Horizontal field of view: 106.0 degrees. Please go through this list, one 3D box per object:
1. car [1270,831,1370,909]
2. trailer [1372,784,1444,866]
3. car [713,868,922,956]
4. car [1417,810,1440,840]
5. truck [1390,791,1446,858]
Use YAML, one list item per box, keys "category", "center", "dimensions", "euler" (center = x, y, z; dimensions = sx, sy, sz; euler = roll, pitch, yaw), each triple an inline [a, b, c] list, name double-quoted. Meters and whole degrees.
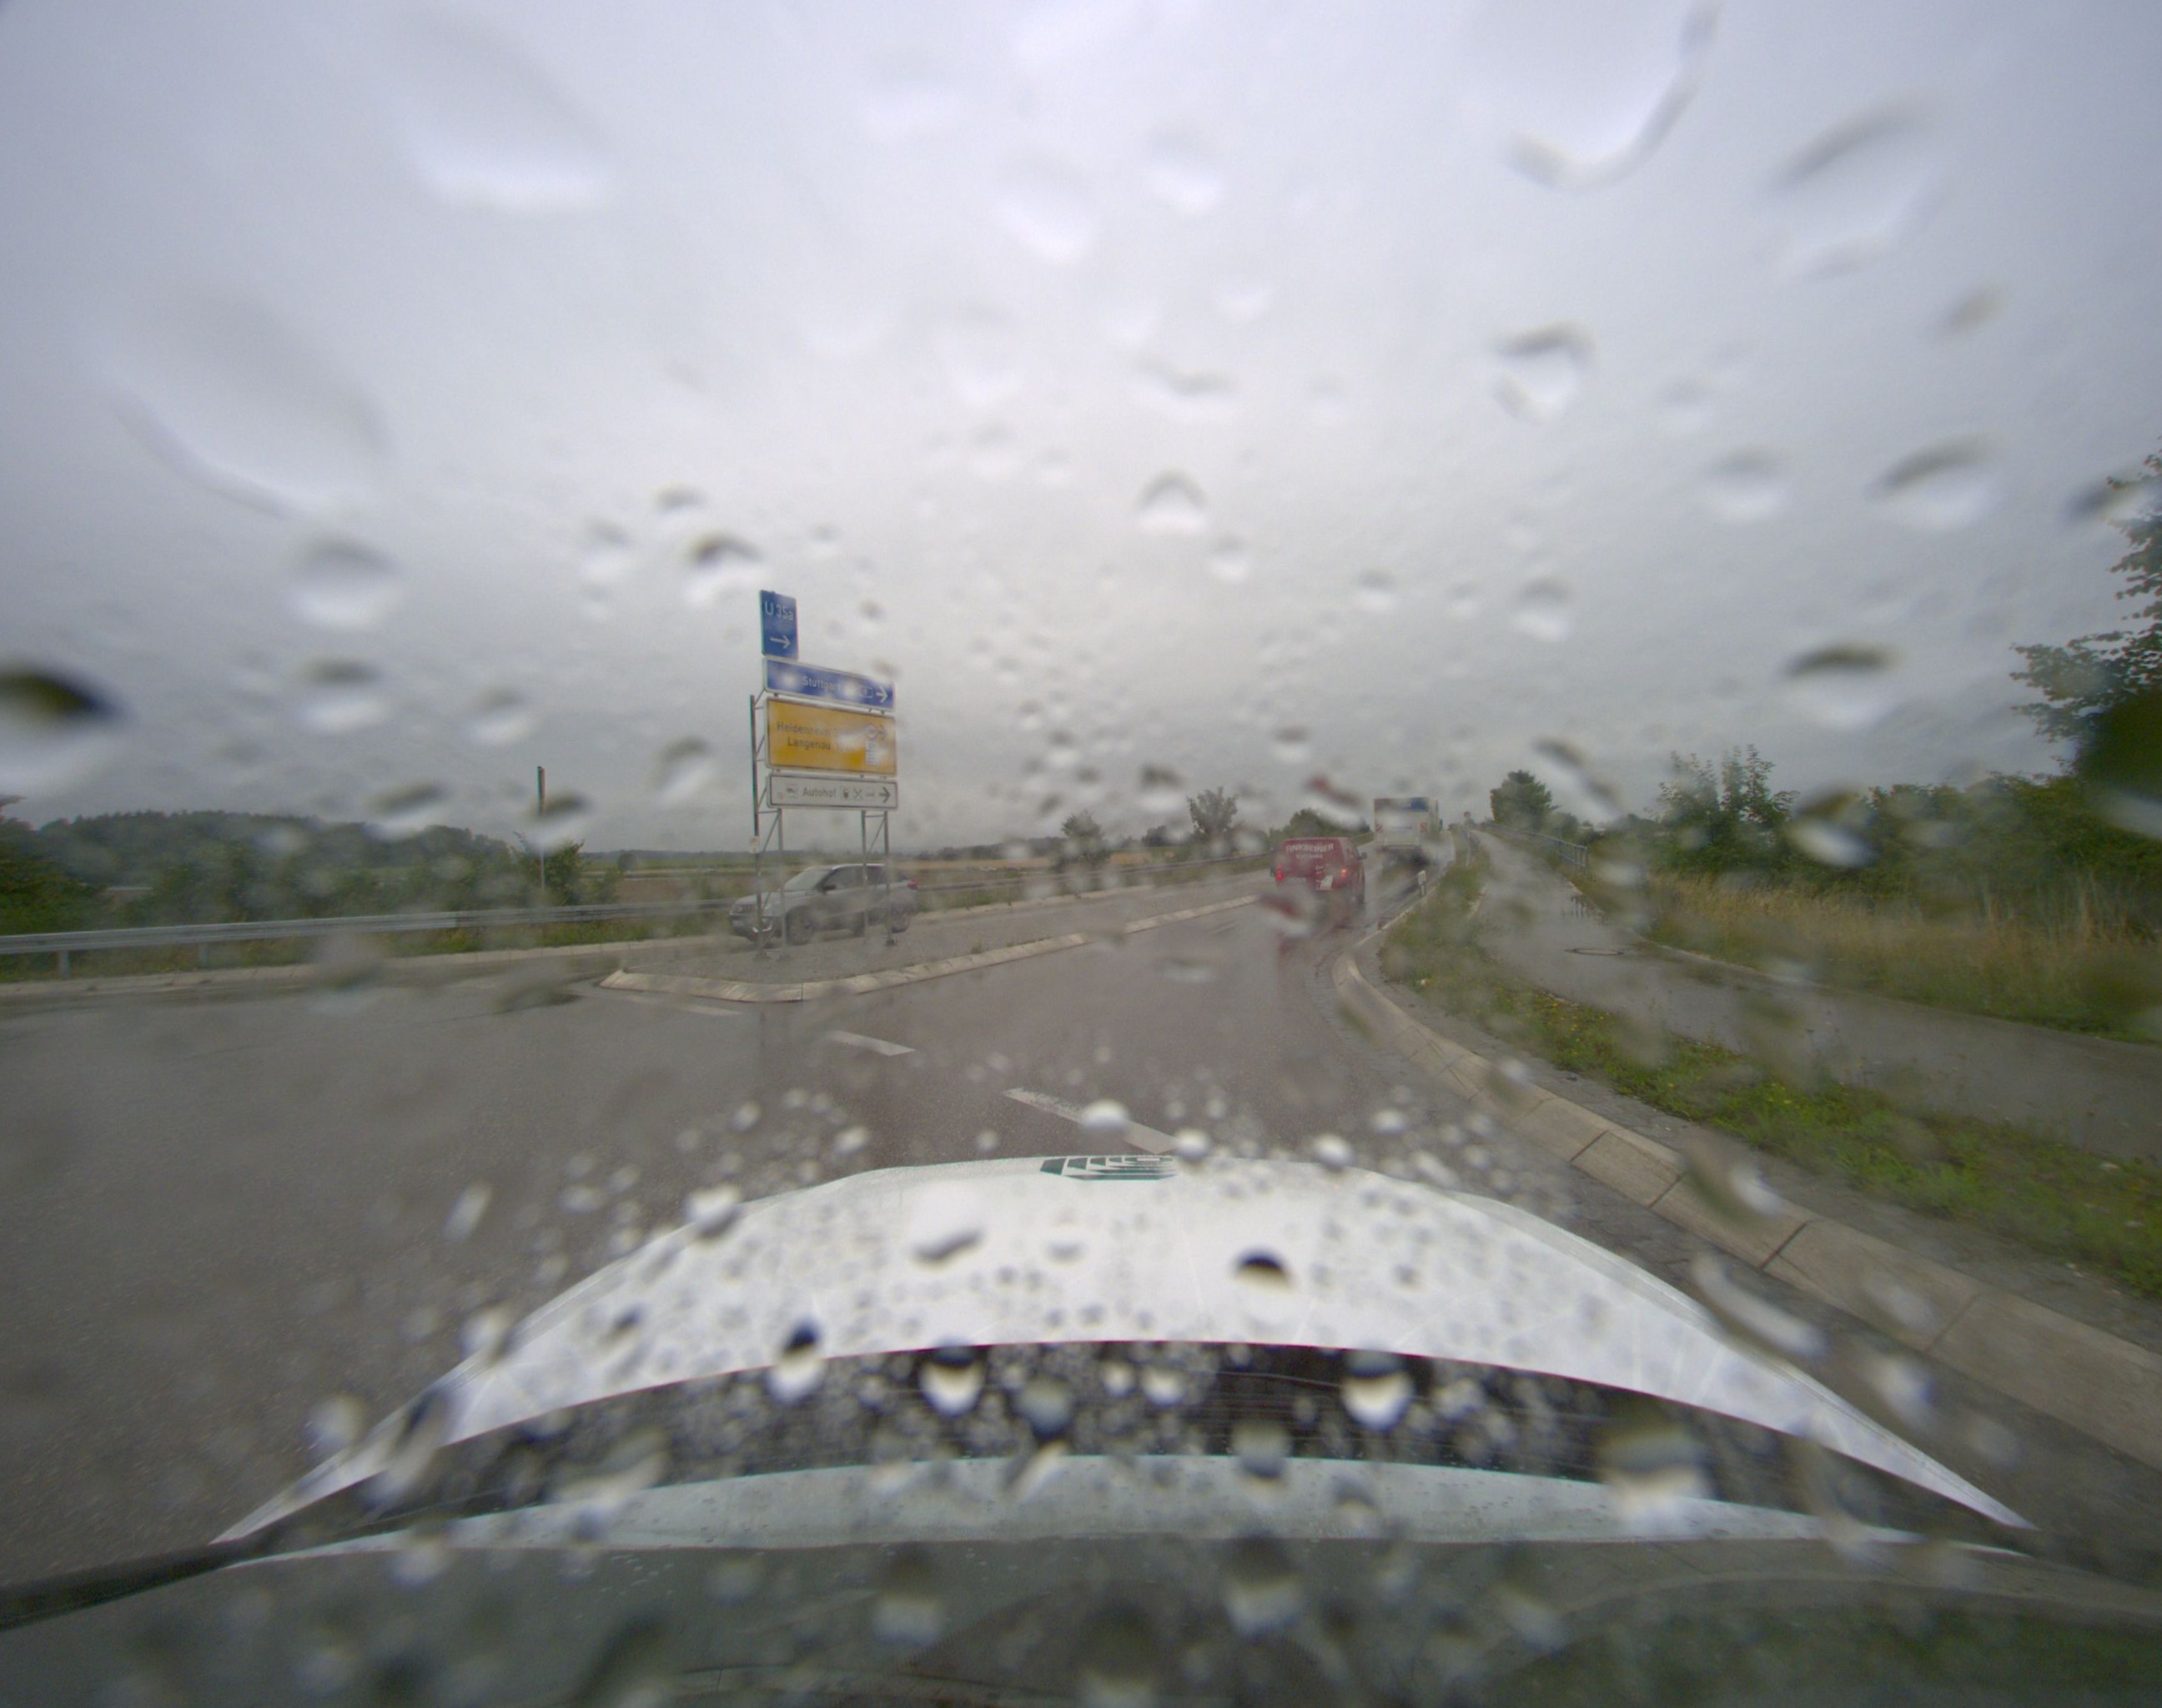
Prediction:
- category: "car"
  center: [6.882, 0.369, 23.037]
  dimensions: [1.975, 1.870, 5.008]
  euler: [-2, 1, 24]
- category: "trailer"
  center: [17.636, -1.496, 43.535]
  dimensions: [2.806, 3.818, 9.773]
  euler: [-2, 1, 26]
- category: "car"
  center: [-5.614, 1.151, 17.771]
  dimensions: [1.783, 1.575, 4.026]
  euler: [-1, 1, 38]
- category: "car"
  center: [35.395, -2.877, 82.939]
  dimensions: [1.975, 2.941, 4.023]
  euler: [-1, 1, 25]
- category: "truck"
  center: [21.384, -1.848, 51.431]
  dimensions: [2.774, 3.818, 7.735]
  euler: [-2, 1, 25]
